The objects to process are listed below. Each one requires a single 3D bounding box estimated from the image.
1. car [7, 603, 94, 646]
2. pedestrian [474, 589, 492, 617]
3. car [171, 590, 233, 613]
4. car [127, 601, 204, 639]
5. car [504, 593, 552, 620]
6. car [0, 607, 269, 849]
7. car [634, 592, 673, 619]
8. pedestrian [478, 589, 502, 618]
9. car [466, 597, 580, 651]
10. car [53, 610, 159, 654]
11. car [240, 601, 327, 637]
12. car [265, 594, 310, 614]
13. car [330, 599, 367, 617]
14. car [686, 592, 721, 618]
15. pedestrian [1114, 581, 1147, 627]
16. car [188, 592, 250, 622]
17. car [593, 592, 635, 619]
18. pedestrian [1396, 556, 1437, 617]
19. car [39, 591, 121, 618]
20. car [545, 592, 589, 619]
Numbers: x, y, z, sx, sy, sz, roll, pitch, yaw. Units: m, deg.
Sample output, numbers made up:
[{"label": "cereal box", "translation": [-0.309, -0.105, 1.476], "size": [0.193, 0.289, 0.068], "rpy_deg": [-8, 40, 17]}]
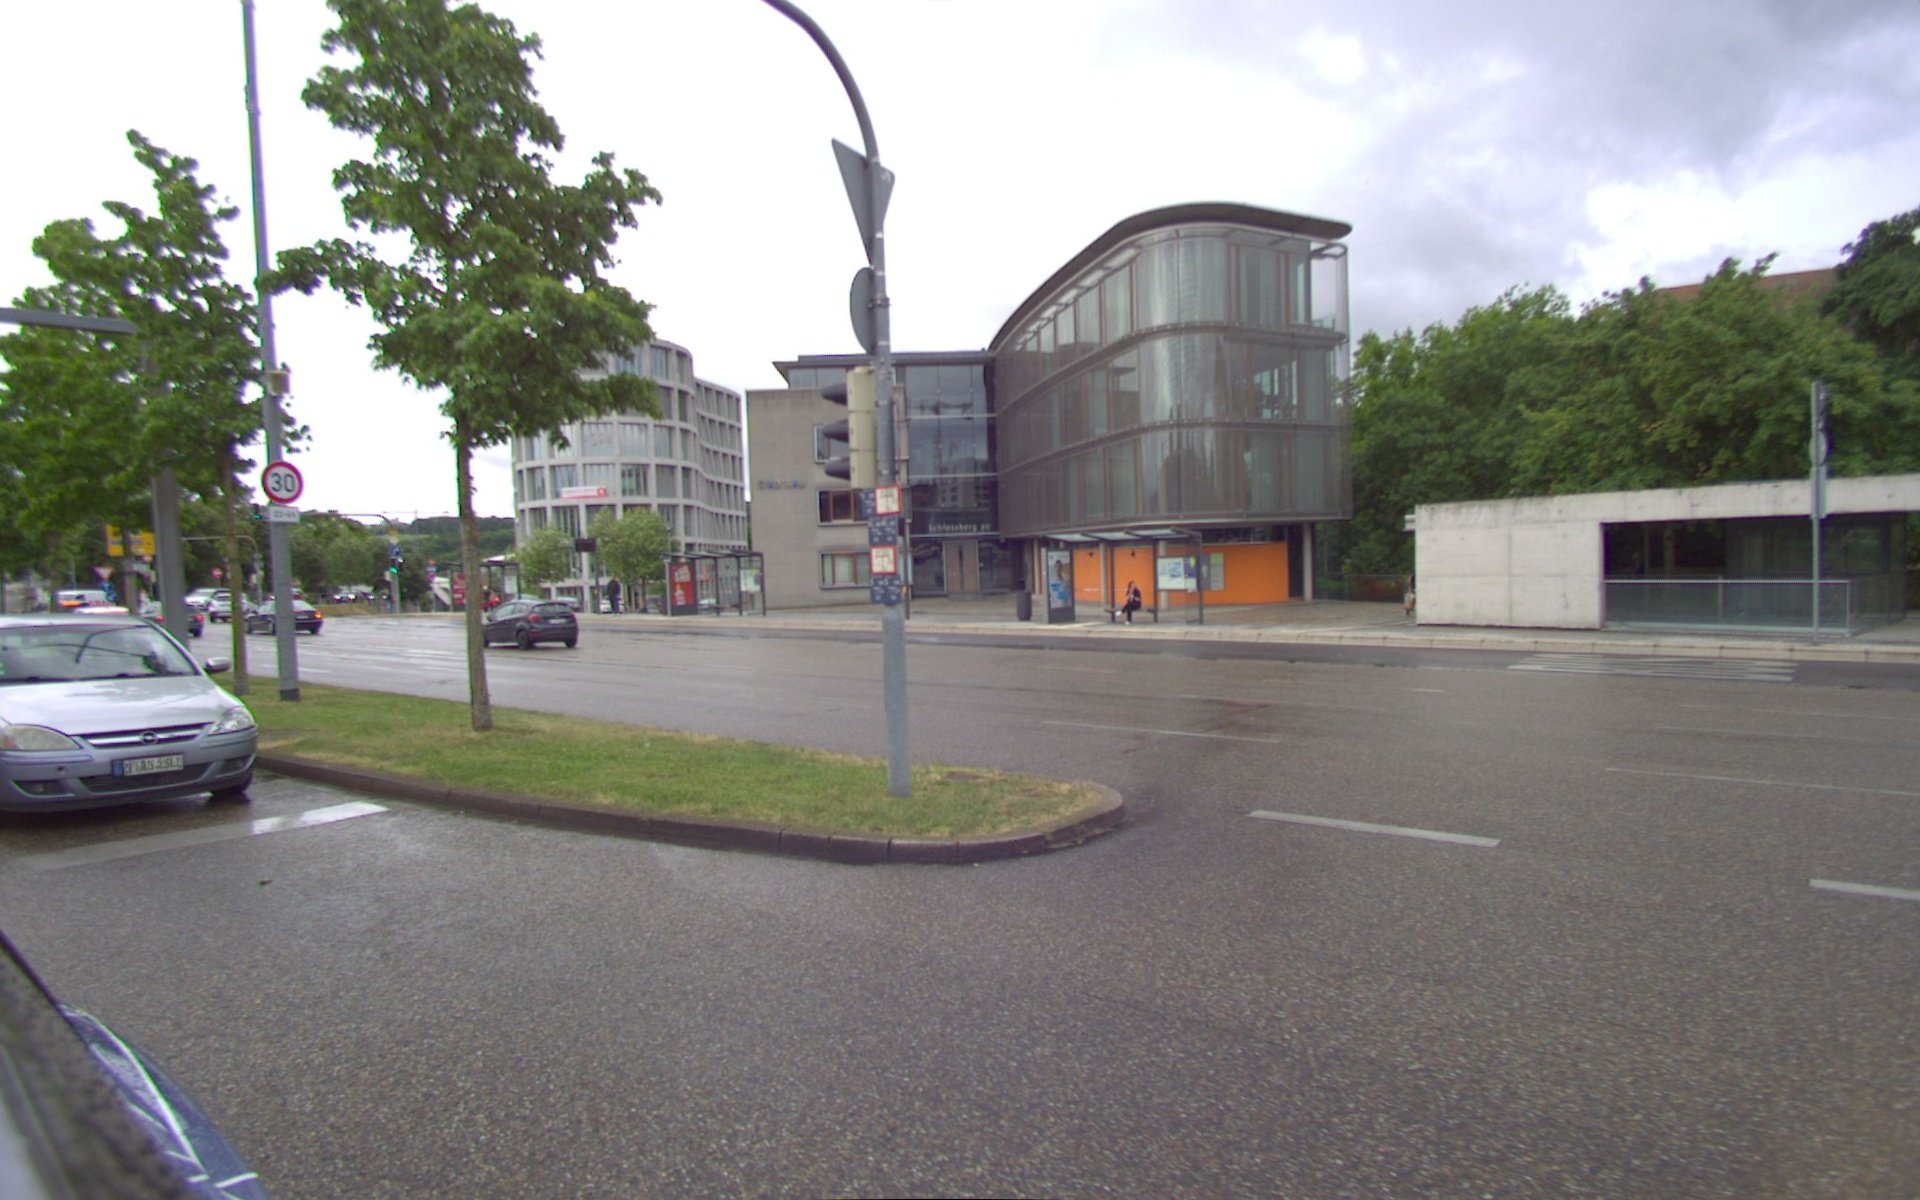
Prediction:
[{"label": "car", "translation": [-35.396, 0.908, 39.356], "size": [4.161, 1.566, 1.985], "rpy_deg": [0, 0, 40]}, {"label": "pedestrian", "translation": [-25.817, 0.171, 54.776], "size": [0.723, 1.501, 0.735], "rpy_deg": [0, 0, -45]}, {"label": "car", "translation": [-56.174, 0.081, 75.108], "size": [1.847, 1.646, 4.292], "rpy_deg": [0, 0, -7]}, {"label": "car", "translation": [-33.273, 0.807, 42.361], "size": [4.448, 1.476, 1.677], "rpy_deg": [0, 0, 40]}, {"label": "car", "translation": [-28.482, 0.379, 66.865], "size": [1.847, 1.714, 4.164], "rpy_deg": [0, 0, -8]}, {"label": "car", "translation": [-7.114, 0.811, 7.931], "size": [3.713, 1.476, 1.679], "rpy_deg": [0, 0, 36]}, {"label": "car", "translation": [-20.599, 0.341, 68.141], "size": [1.847, 1.714, 4.164], "rpy_deg": [0, 0, -8]}, {"label": "pedestrian", "translation": [-25.095, 0.171, 54.051], "size": [0.970, 1.501, 0.735], "rpy_deg": [0, 0, -43]}, {"label": "car", "translation": [-13.208, 0.688, 30.507], "size": [3.861, 1.523, 1.660], "rpy_deg": [0, 0, 41]}, {"label": "car", "translation": [-29.415, 1.048, 34.826], "size": [4.158, 1.363, 1.986], "rpy_deg": [0, 0, 38]}, {"label": "car", "translation": [-28.573, 0.759, 42.723], "size": [3.995, 1.433, 1.937], "rpy_deg": [0, 0, 38]}, {"label": "car", "translation": [-57.219, 0.341, 86.208], "size": [1.846, 1.646, 4.168], "rpy_deg": [-1, 1, -13]}, {"label": "car", "translation": [-60.601, 0.763, 100.402], "size": [1.863, 1.726, 4.228], "rpy_deg": [0, 0, -12]}, {"label": "car", "translation": [-17.255, 0.327, 68.252], "size": [1.847, 1.714, 4.164], "rpy_deg": [0, 0, -8]}, {"label": "pedestrian", "translation": [5.004, 0.111, 29.667], "size": [0.720, 1.309, 0.659], "rpy_deg": [0, 0, 43]}, {"label": "car", "translation": [-42.034, 0.390, 57.352], "size": [4.205, 1.630, 1.935], "rpy_deg": [0, 0, 40]}, {"label": "car", "translation": [-23.032, 0.339, 67.509], "size": [1.847, 1.714, 4.165], "rpy_deg": [-1, 1, -8]}, {"label": "pedestrian", "translation": [13.470, -0.405, 29.860], "size": [0.773, 1.769, 0.828], "rpy_deg": [0, 0, -33]}, {"label": "car", "translation": [-54.441, 0.268, 62.707], "size": [1.848, 1.646, 4.164], "rpy_deg": [0, 0, -7]}, {"label": "car", "translation": [-26.016, 0.367, 67.095], "size": [1.847, 1.714, 4.164], "rpy_deg": [0, 0, -8]}]
